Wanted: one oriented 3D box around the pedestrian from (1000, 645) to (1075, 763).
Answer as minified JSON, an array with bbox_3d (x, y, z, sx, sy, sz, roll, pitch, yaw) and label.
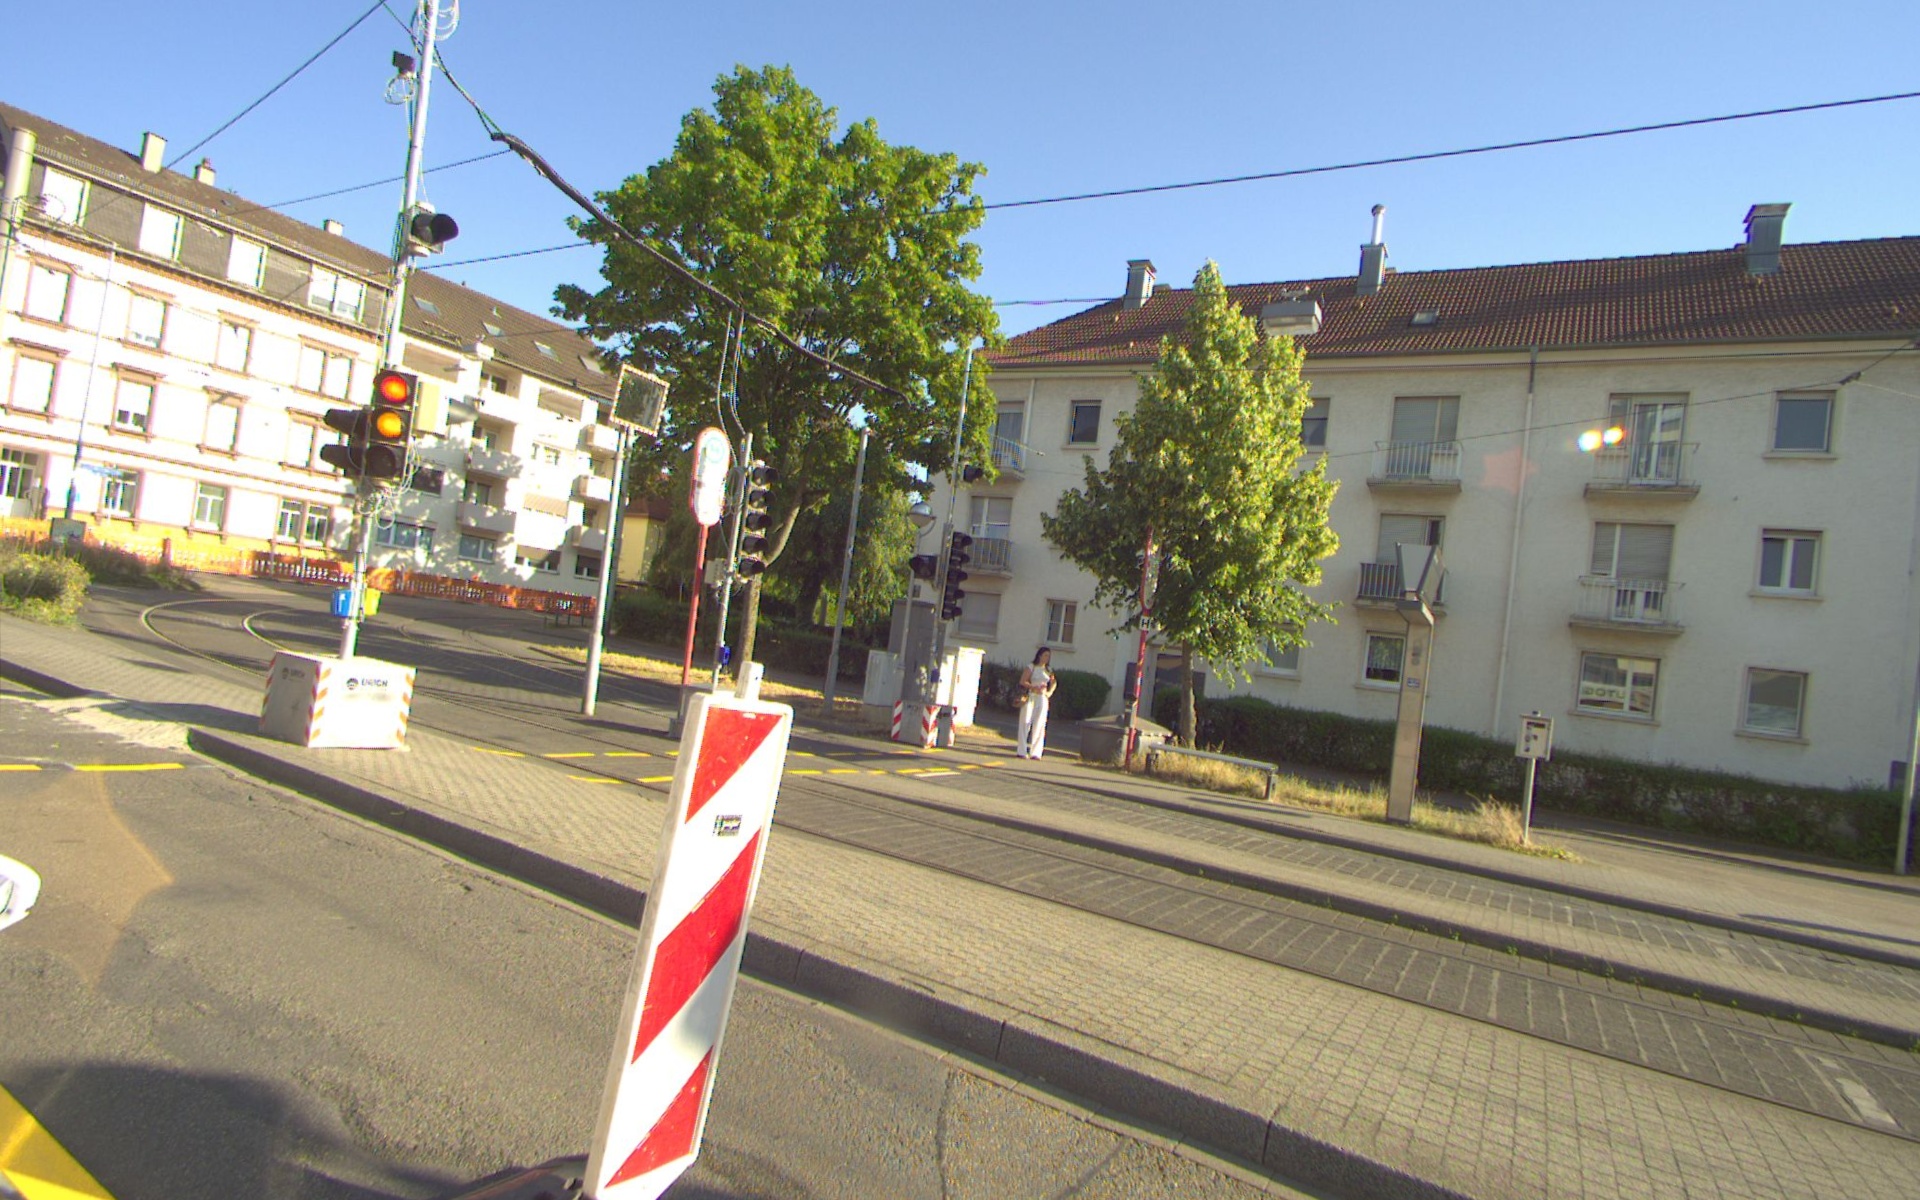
[{"bbox_3d":[1.164,1.559,15.278,0.812,1.639,0.791,7,-1,-5],"label":"pedestrian"}]
